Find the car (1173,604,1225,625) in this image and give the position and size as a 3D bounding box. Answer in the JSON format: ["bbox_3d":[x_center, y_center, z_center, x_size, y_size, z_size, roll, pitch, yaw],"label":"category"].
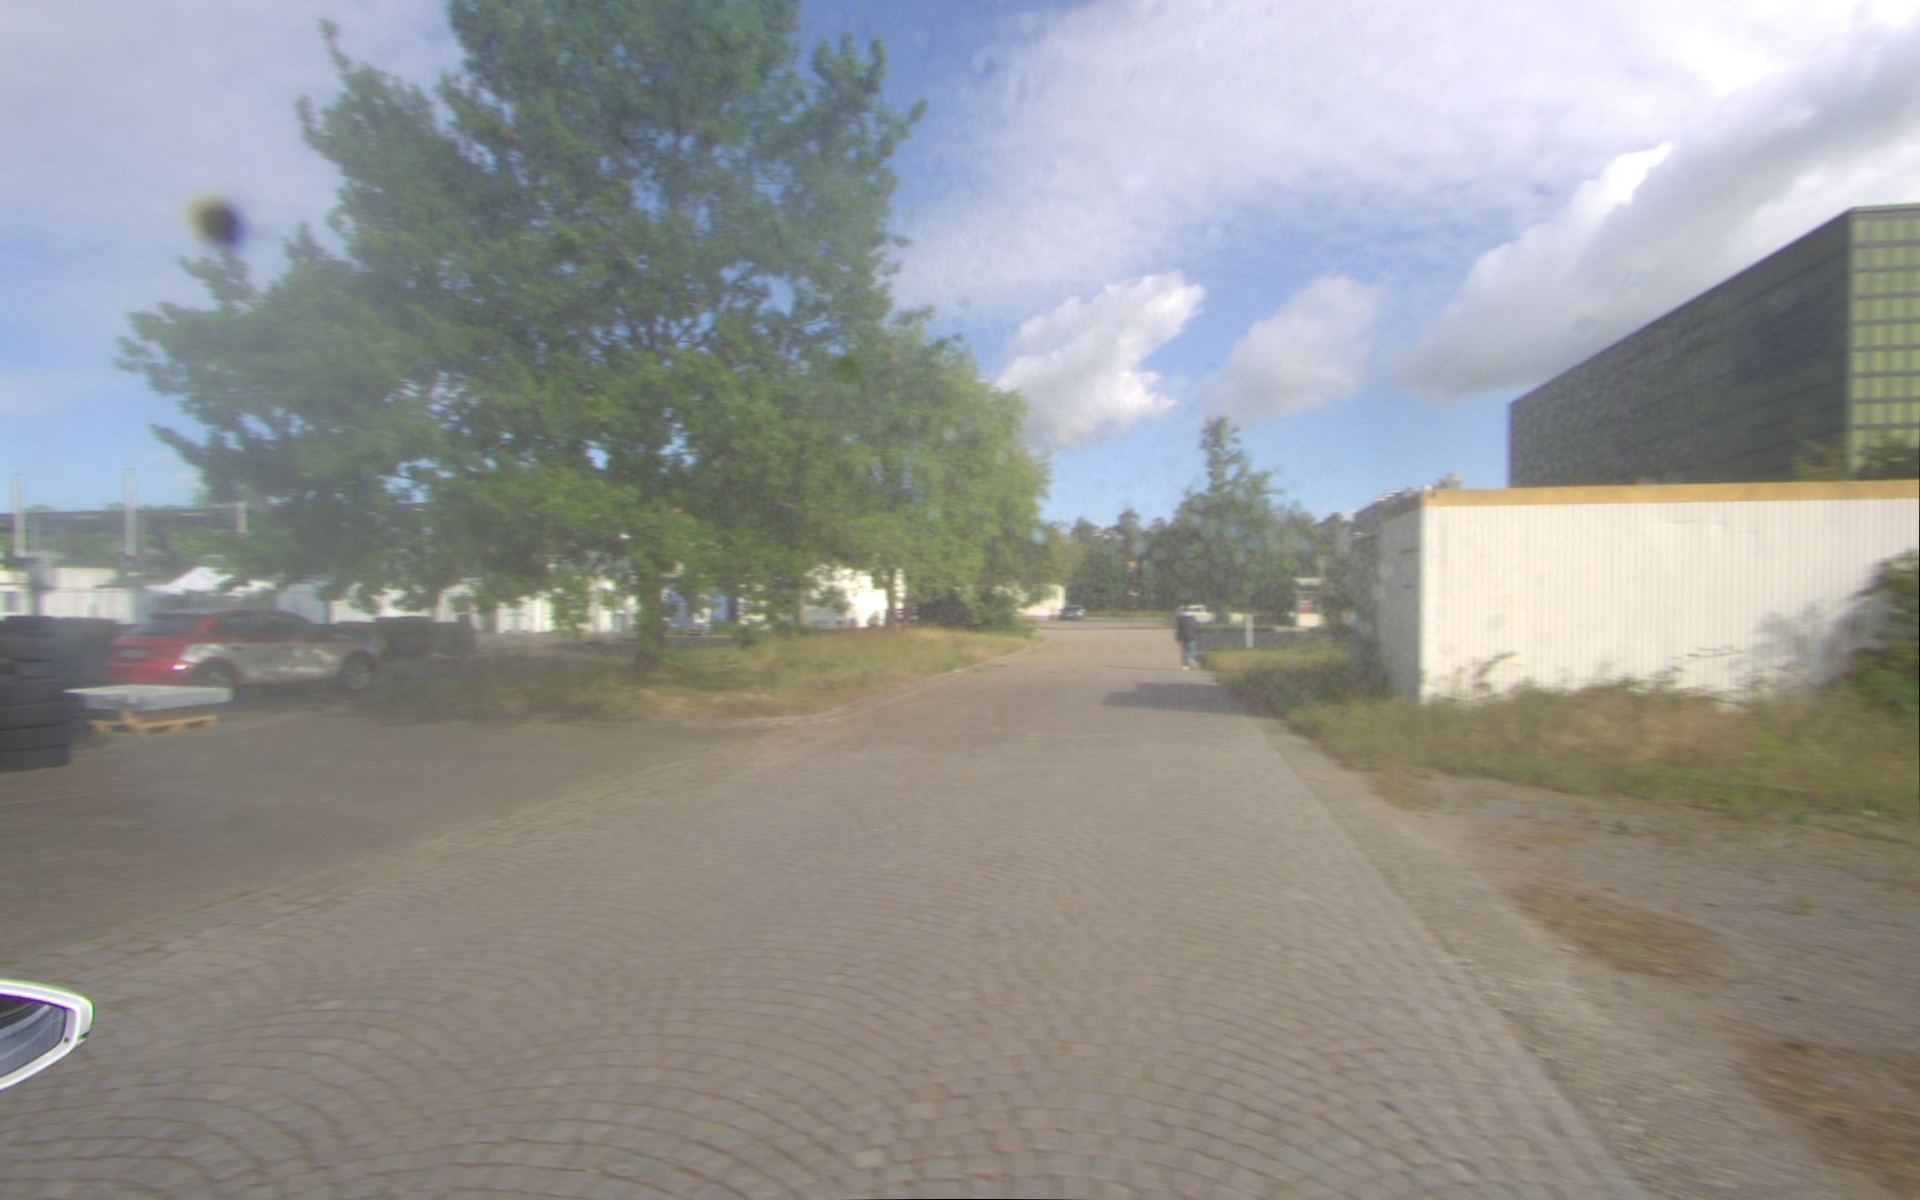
[{"bbox_3d":[19.126,1.153,80.104,3.927,1.664,1.997,0,0,17],"label":"car"}]

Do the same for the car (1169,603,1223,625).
[{"bbox_3d":[18.317,1.081,77.606,3.927,1.664,1.997,0,0,17],"label":"car"}]

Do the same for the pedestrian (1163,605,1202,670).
[{"bbox_3d":[5.532,0.915,24.864,0.852,1.579,1.026,0,0,17],"label":"pedestrian"}]

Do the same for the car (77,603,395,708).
[{"bbox_3d":[-11.544,0.803,16.333,1.697,1.483,3.994,0,0,17],"label":"car"}]

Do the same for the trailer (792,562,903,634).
[{"bbox_3d":[-5.837,-0.062,54.102,2.871,3.517,9.893,0,0,13],"label":"trailer"}]

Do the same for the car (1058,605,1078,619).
[{"bbox_3d":[11.165,1.233,103.514,1.961,1.389,3.999,0,0,5],"label":"car"}]
